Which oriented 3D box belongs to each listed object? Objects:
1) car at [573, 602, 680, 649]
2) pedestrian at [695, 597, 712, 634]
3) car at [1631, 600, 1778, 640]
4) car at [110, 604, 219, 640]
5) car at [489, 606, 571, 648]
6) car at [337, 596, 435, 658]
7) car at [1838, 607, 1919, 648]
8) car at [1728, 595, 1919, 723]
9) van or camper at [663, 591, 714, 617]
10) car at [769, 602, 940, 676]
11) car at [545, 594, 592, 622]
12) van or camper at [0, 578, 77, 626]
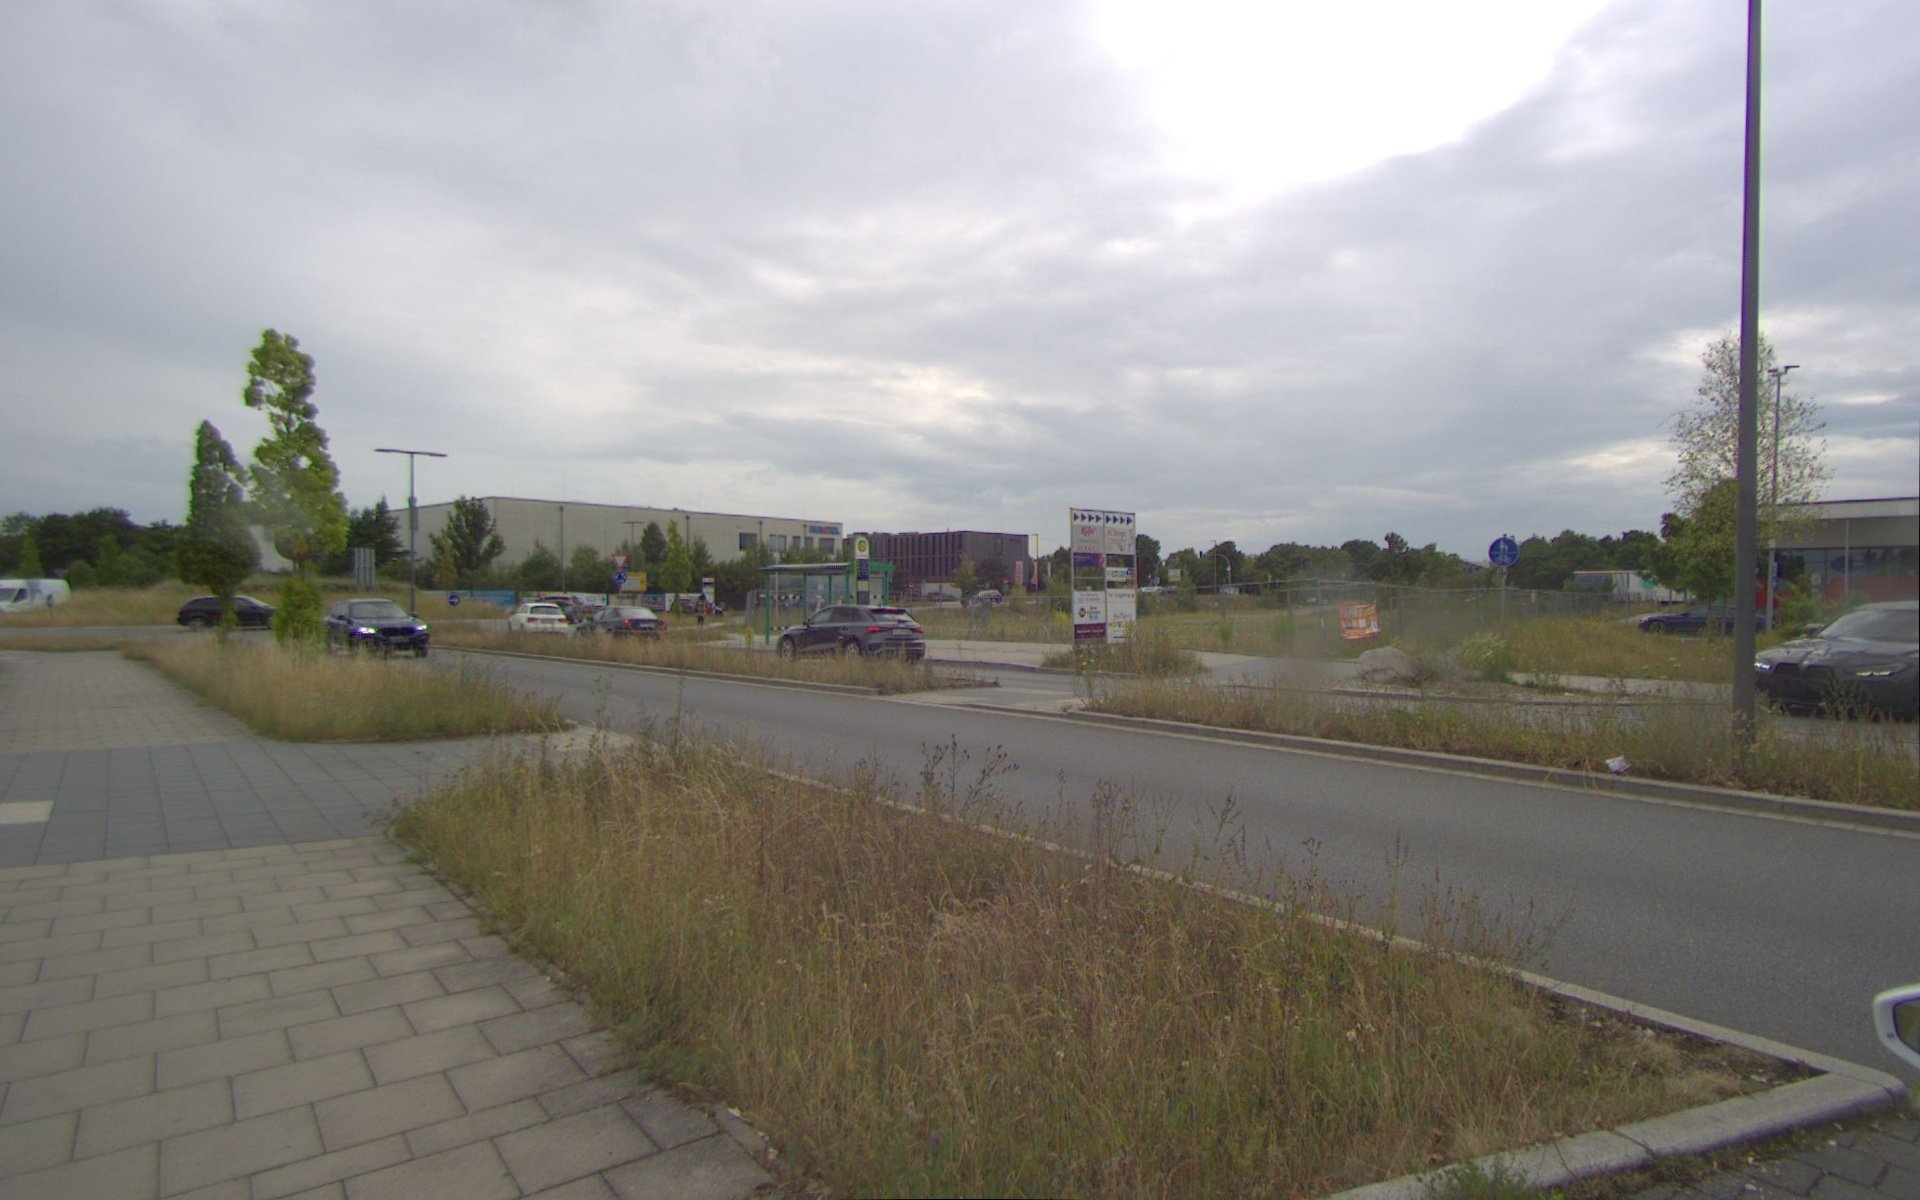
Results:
[{"bbox_3d":[-11.320,0.827,33.905,1.779,1.414,4.315,1,0,-43],"label":"car"},{"bbox_3d":[-12.448,0.746,48.761,0.729,1.745,0.650,1,1,-7],"label":"pedestrian"},{"bbox_3d":[32.765,0.828,44.291,1.987,1.578,4.958,1,1,-44],"label":"car"},{"bbox_3d":[-31.837,0.865,40.300,3.257,1.372,1.547,0,0,-32],"label":"car"},{"bbox_3d":[-17.275,1.029,40.244,1.746,1.500,4.003,1,1,-43],"label":"car"},{"bbox_3d":[-16.567,0.711,28.911,1.878,1.662,3.955,0,0,-39],"label":"car"},{"bbox_3d":[33.255,0.961,34.898,1.985,1.370,3.950,1,1,-42],"label":"car"},{"bbox_3d":[12.794,0.693,13.644,4.544,1.465,1.775,-1,1,-23],"label":"car"},{"bbox_3d":[-19.852,0.273,73.645,1.959,1.772,4.574,1,0,7],"label":"van or camper"},{"bbox_3d":[-2.547,0.837,23.457,1.785,1.486,4.266,0,1,-43],"label":"car"},{"bbox_3d":[-20.946,0.403,53.853,1.688,1.361,4.054,1,1,-12],"label":"car"},{"bbox_3d":[-53.469,0.085,57.409,1.964,2.617,5.455,1,0,-10],"label":"van or camper"}]
